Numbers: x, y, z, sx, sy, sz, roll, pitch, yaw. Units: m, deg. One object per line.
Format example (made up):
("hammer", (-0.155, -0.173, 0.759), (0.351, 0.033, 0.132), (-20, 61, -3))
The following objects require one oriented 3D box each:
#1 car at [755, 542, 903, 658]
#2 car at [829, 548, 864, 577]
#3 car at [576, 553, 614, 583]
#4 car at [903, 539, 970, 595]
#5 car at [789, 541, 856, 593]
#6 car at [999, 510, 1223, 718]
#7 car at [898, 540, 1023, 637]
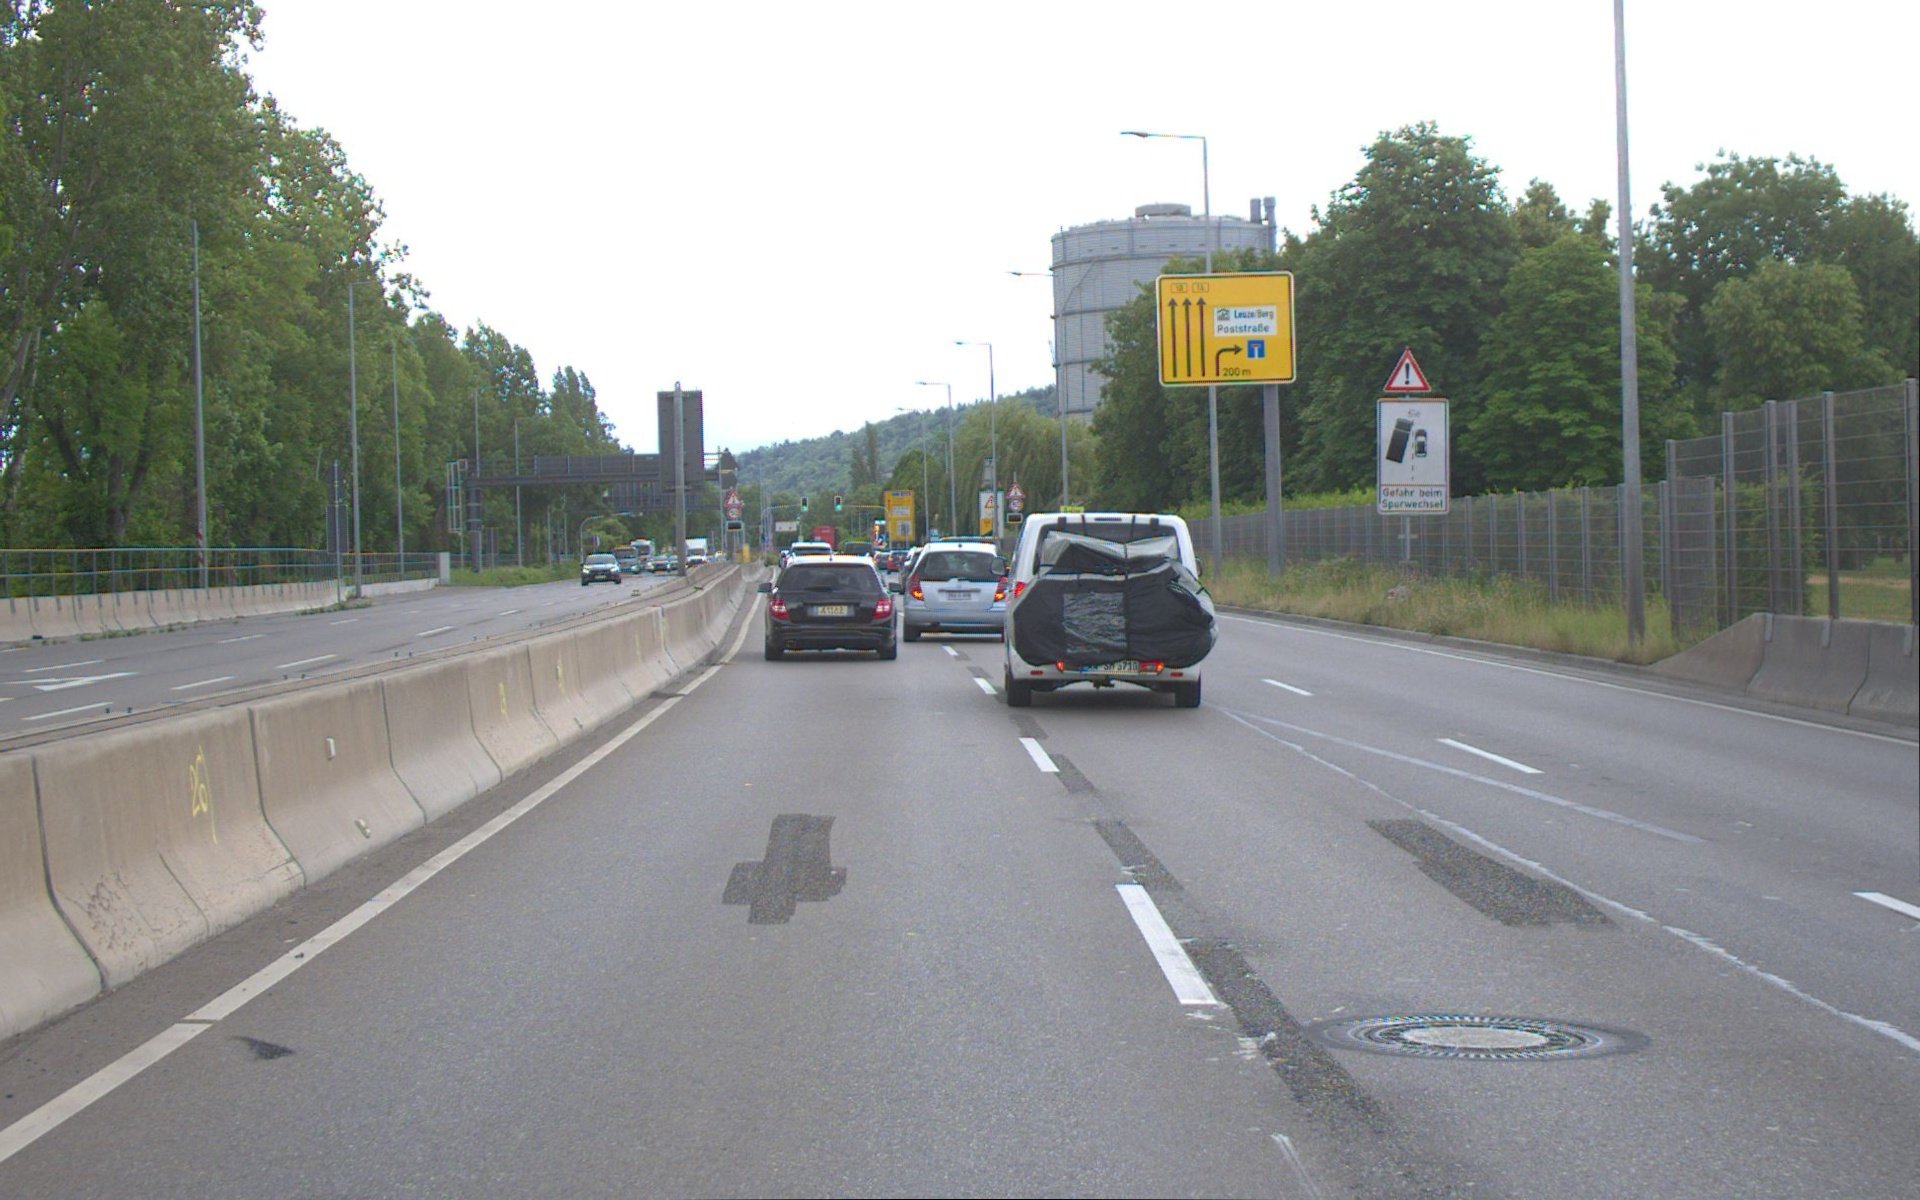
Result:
("car", (-1.737, -0.032, 46.700), (1.815, 1.429, 4.065), (-2, 1, 0))
("car", (-6.651, -2.195, 201.538), (1.993, 1.648, 4.001), (0, 1, -3))
("car", (-17.035, -1.493, 160.646), (1.732, 1.369, 3.617), (-1, 1, -6))
("car", (-0.733, -1.012, 104.590), (1.993, 1.663, 4.000), (-1, 1, -1))
("car", (-4.489, -1.071, 112.778), (1.993, 1.667, 4.000), (0, 0, 0))
("car", (1.391, 0.083, 33.732), (1.993, 1.853, 5.641), (0, 1, 1))
("car", (-0.027, -0.200, 55.265), (1.920, 1.483, 4.065), (-1, 1, -1))
